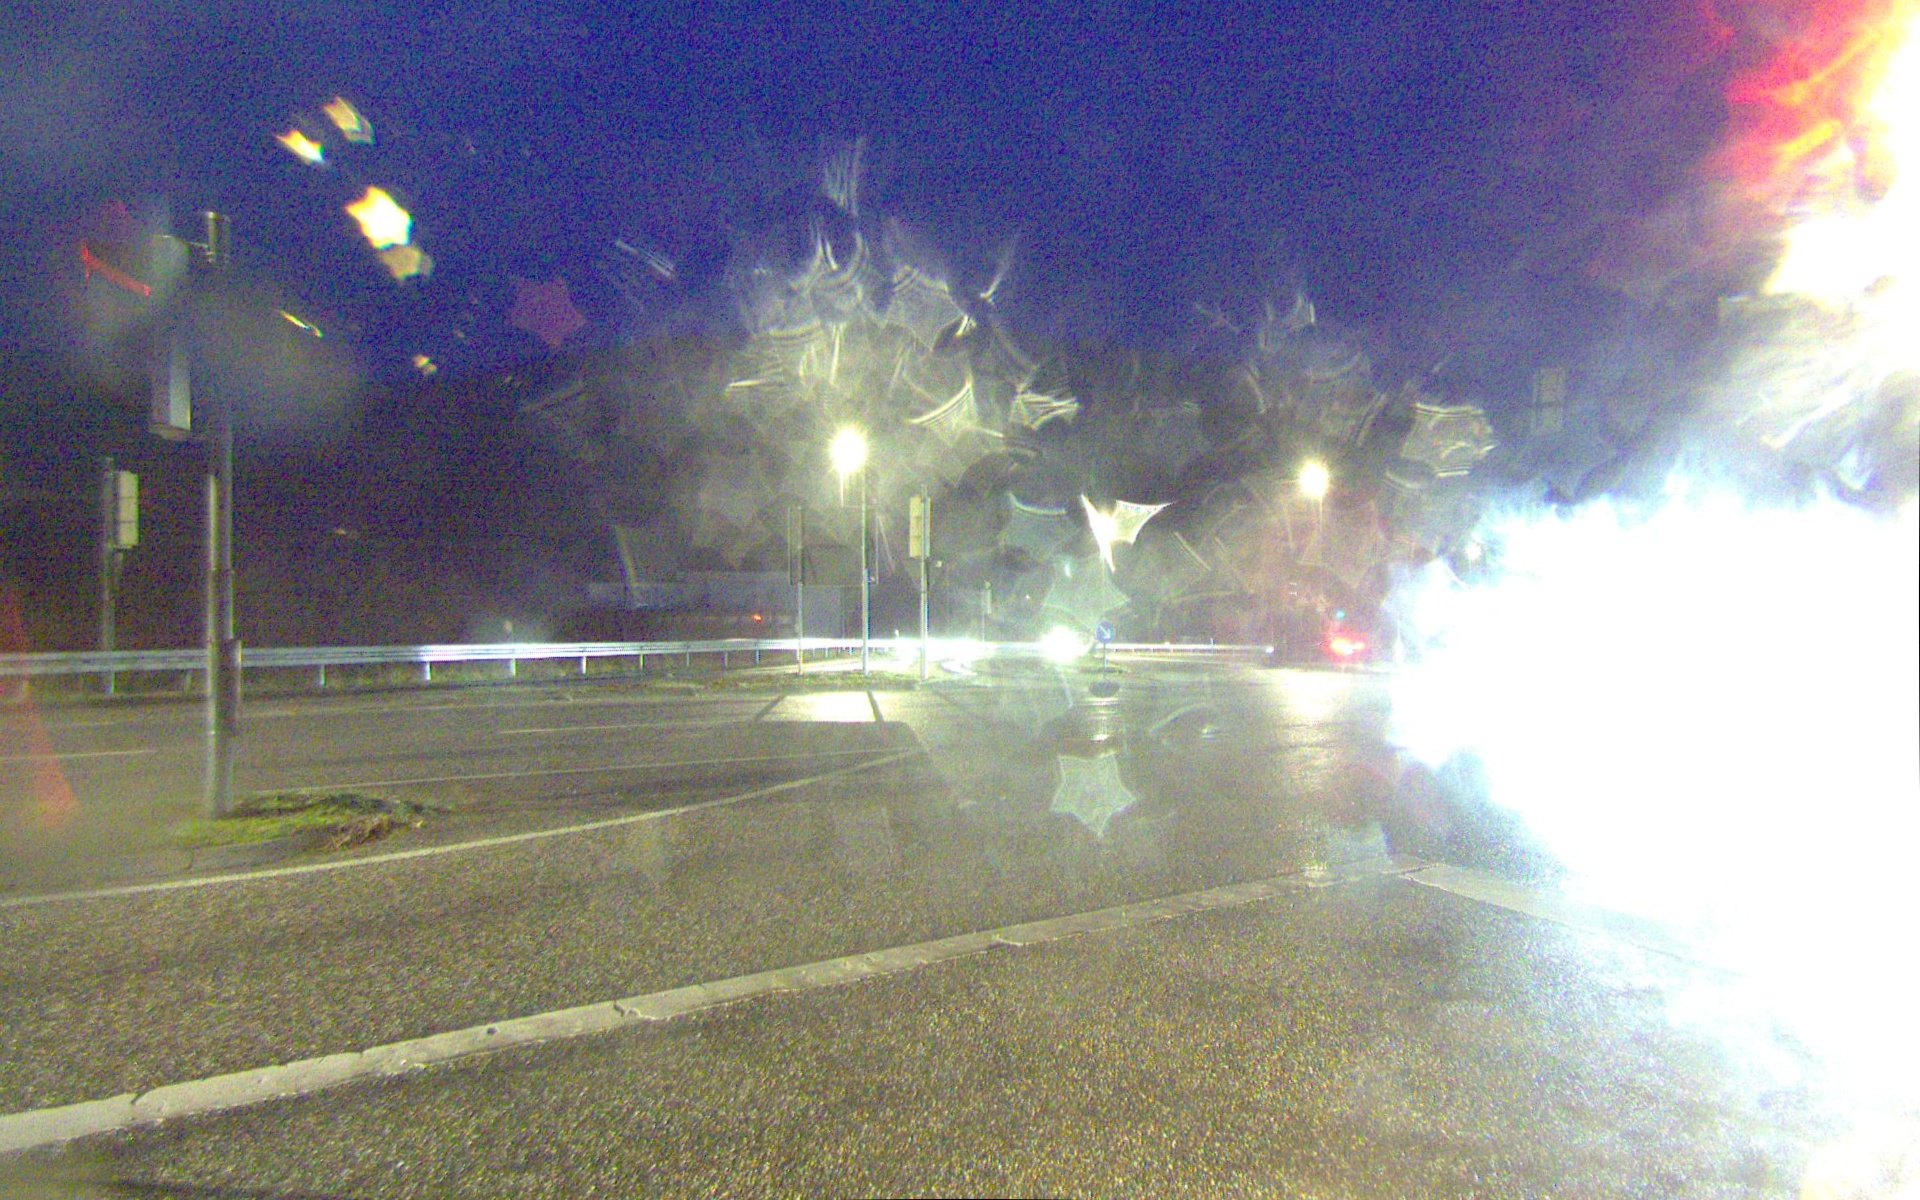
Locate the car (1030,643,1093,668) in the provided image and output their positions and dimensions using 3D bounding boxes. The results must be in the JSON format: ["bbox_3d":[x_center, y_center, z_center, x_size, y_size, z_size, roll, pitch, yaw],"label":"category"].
[{"bbox_3d":[6.443,3.476,63.352,2.146,1.468,4.122,1,-1,37],"label":"car"}]

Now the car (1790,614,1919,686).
[{"bbox_3d":[22.255,1.183,24.305,4.652,1.592,1.692,1,-1,-27],"label":"car"}]

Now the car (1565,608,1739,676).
[{"bbox_3d":[17.798,1.059,25.764,4.855,1.592,1.784,1,-1,-30],"label":"car"}]

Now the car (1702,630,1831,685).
[{"bbox_3d":[23.436,1.672,29.170,3.683,1.473,1.660,2,-1,-29],"label":"car"}]

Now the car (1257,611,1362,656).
[{"bbox_3d":[14.963,1.412,43.081,3.939,1.856,1.714,0,-1,39],"label":"car"}]
